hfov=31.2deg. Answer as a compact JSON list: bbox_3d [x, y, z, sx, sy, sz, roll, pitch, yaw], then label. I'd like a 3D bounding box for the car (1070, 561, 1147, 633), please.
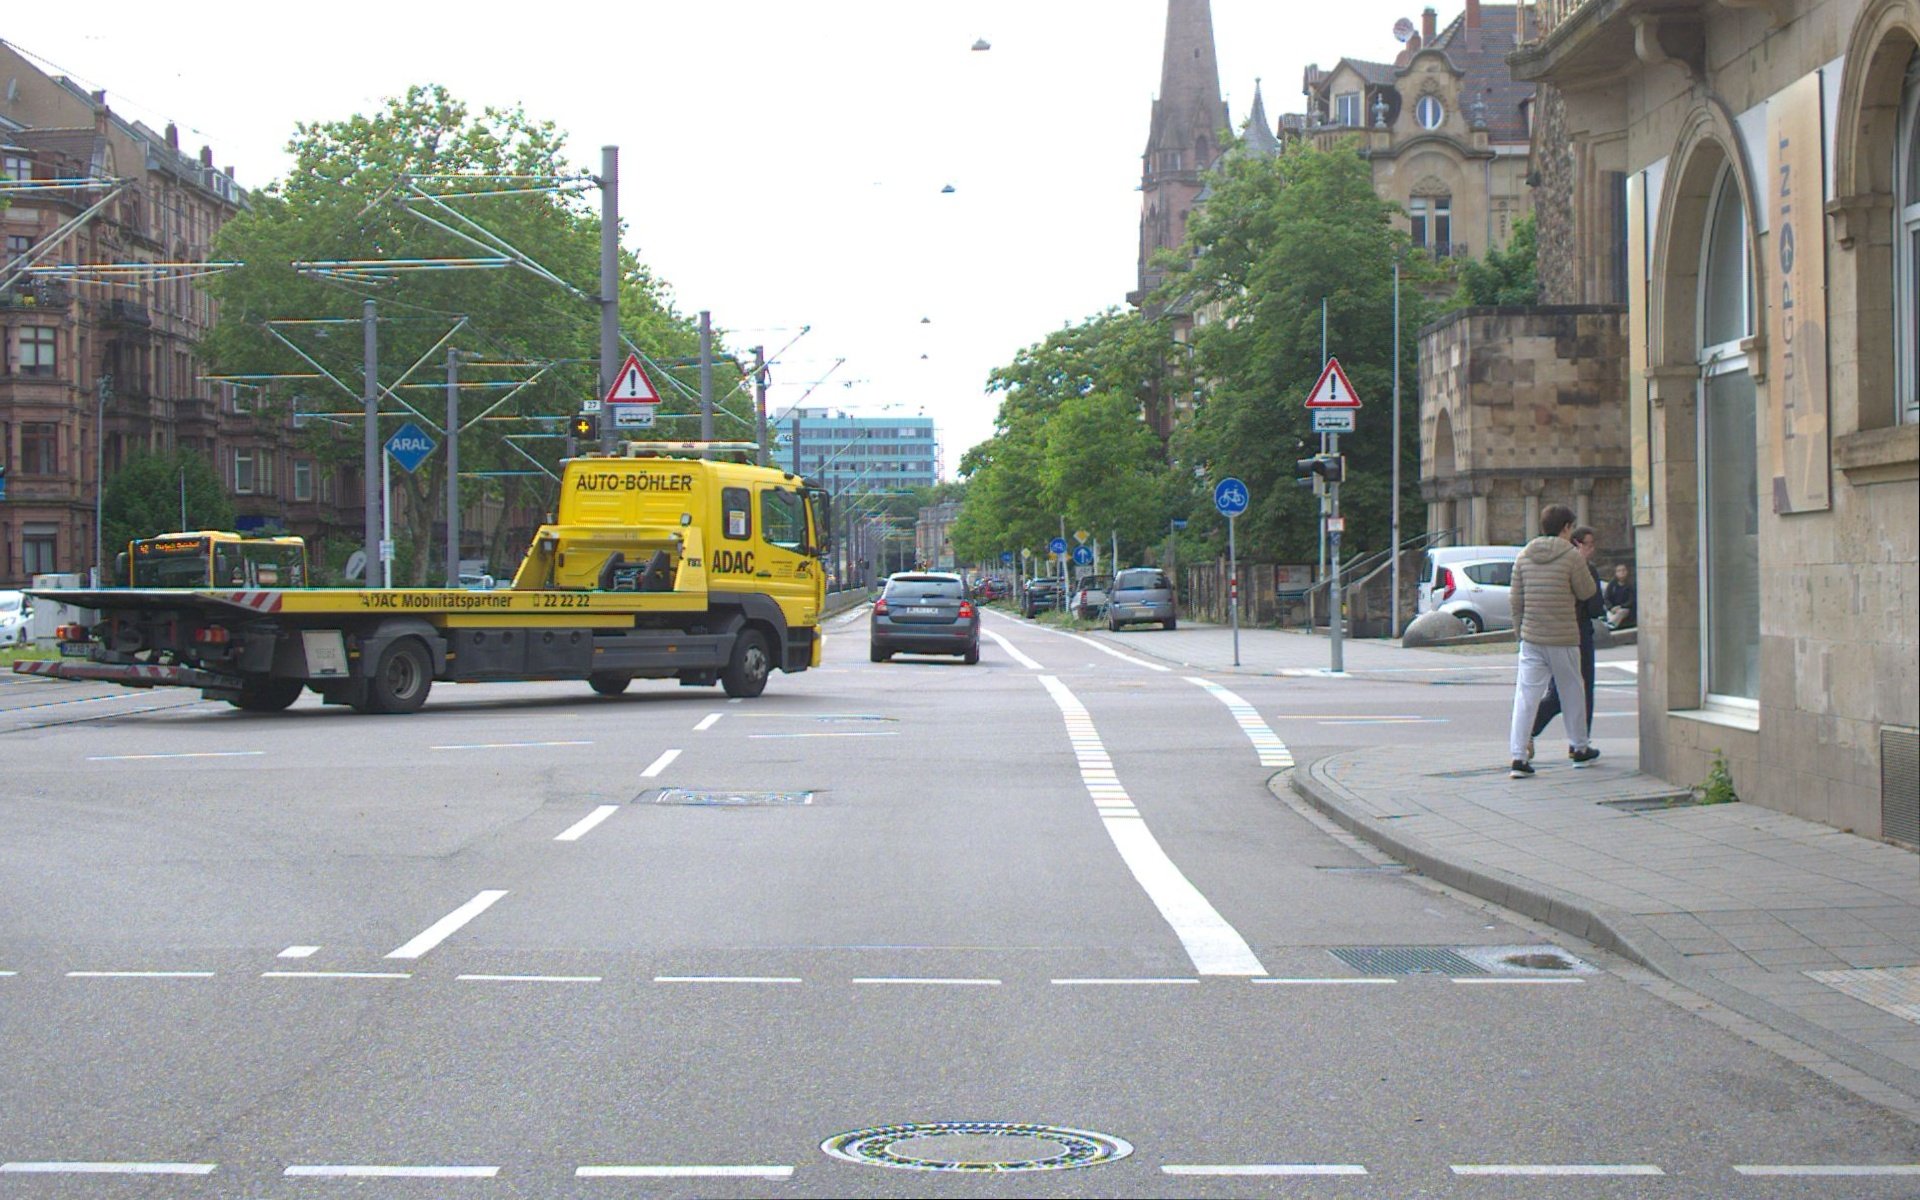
[{"bbox_3d":[4.283,-0.104,99.673,1.993,2.007,4.000,1,0,-1],"label":"car"}]

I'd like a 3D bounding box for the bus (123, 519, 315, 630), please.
[{"bbox_3d":[-22.218,-0.753,103.929,3.084,3.101,13.094,1,0,-1],"label":"bus"}]

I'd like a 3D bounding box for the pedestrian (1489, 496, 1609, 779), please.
[{"bbox_3d":[3.887,0.237,22.647,0.583,1.807,1.014,1,0,19],"label":"pedestrian"}]

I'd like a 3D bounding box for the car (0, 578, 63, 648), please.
[{"bbox_3d":[-22.078,0.277,79.157,1.894,1.552,3.836,1,0,-1],"label":"car"}]

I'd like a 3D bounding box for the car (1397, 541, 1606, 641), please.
[{"bbox_3d":[10.732,-0.177,68.319,3.799,1.897,2.000,1,0,0],"label":"car"}]

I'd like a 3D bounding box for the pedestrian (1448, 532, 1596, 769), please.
[{"bbox_3d":[3.999,0.350,24.441,0.627,1.647,0.994,1,0,37],"label":"pedestrian"}]

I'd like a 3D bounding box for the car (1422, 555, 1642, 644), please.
[{"bbox_3d":[10.769,-0.007,64.910,3.799,1.595,2.000,1,0,0],"label":"car"}]

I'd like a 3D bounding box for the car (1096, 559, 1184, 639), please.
[{"bbox_3d":[4.689,-0.041,90.101,1.993,2.007,4.000,1,0,-1],"label":"car"}]

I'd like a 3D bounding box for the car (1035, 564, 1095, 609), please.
[{"bbox_3d":[3.906,-0.498,128.487,1.993,1.602,4.164,-2,0,-1],"label":"car"}]

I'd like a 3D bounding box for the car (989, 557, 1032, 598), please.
[{"bbox_3d":[2.518,-1.119,172.473,1.993,2.007,4.000,1,0,-1],"label":"car"}]

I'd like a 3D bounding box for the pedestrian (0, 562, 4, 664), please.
[{"bbox_3d":[-14.664,0.190,51.325,0.653,1.532,0.466,1,0,-5],"label":"pedestrian"}]

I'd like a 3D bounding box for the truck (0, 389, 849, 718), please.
[{"bbox_3d":[-5.365,-0.453,35.503,2.634,2.931,10.157,1,1,37],"label":"truck"}]

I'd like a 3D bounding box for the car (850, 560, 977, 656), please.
[{"bbox_3d":[-0.786,0.114,55.448,1.835,1.464,3.993,1,0,-3],"label":"car"}]
